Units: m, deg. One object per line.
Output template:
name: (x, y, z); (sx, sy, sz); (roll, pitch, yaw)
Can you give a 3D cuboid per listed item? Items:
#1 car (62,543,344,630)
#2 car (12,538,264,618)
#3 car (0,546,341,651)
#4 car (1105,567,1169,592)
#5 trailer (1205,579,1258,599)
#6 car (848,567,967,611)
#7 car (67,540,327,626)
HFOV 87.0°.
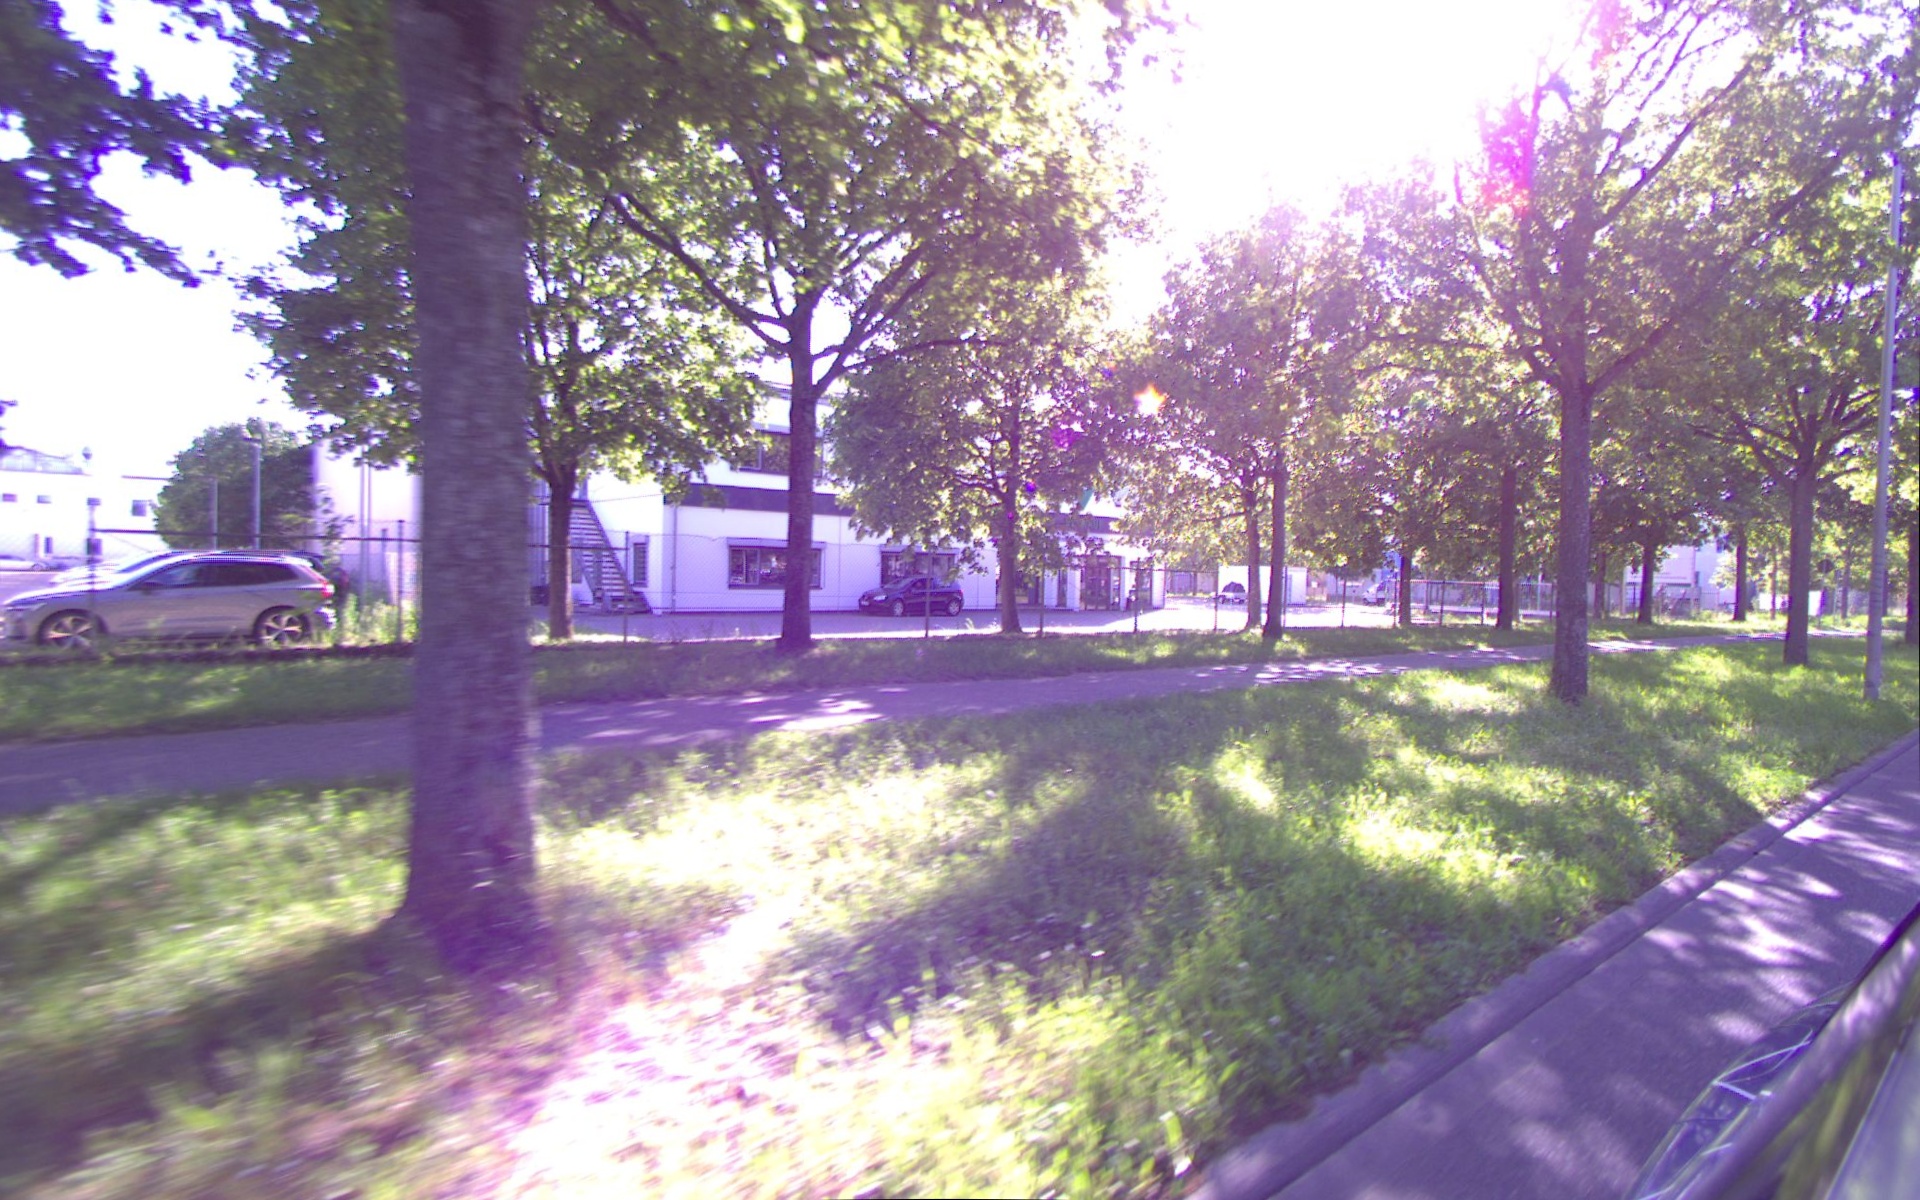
car: (-15.205, -0.284, 20.464); (4.381, 1.578, 1.996); (0, 2, -43)
car: (-19.116, -0.488, 23.677); (1.993, 1.694, 4.386); (0, 1, 44)
car: (-13.854, -0.095, 17.938); (4.637, 1.626, 1.996); (-1, 3, -43)
car: (14.774, -1.737, 84.531); (5.009, 2.039, 2.004); (0, 0, -23)
trailer: (19.020, -0.809, 71.041); (1.695, 1.282, 3.604); (1, 2, -23)
car: (-1.851, -0.402, 36.639); (4.084, 1.525, 1.720); (-1, 1, -39)
car: (-16.644, -0.377, 22.196); (4.381, 1.694, 1.996); (0, 2, -43)
